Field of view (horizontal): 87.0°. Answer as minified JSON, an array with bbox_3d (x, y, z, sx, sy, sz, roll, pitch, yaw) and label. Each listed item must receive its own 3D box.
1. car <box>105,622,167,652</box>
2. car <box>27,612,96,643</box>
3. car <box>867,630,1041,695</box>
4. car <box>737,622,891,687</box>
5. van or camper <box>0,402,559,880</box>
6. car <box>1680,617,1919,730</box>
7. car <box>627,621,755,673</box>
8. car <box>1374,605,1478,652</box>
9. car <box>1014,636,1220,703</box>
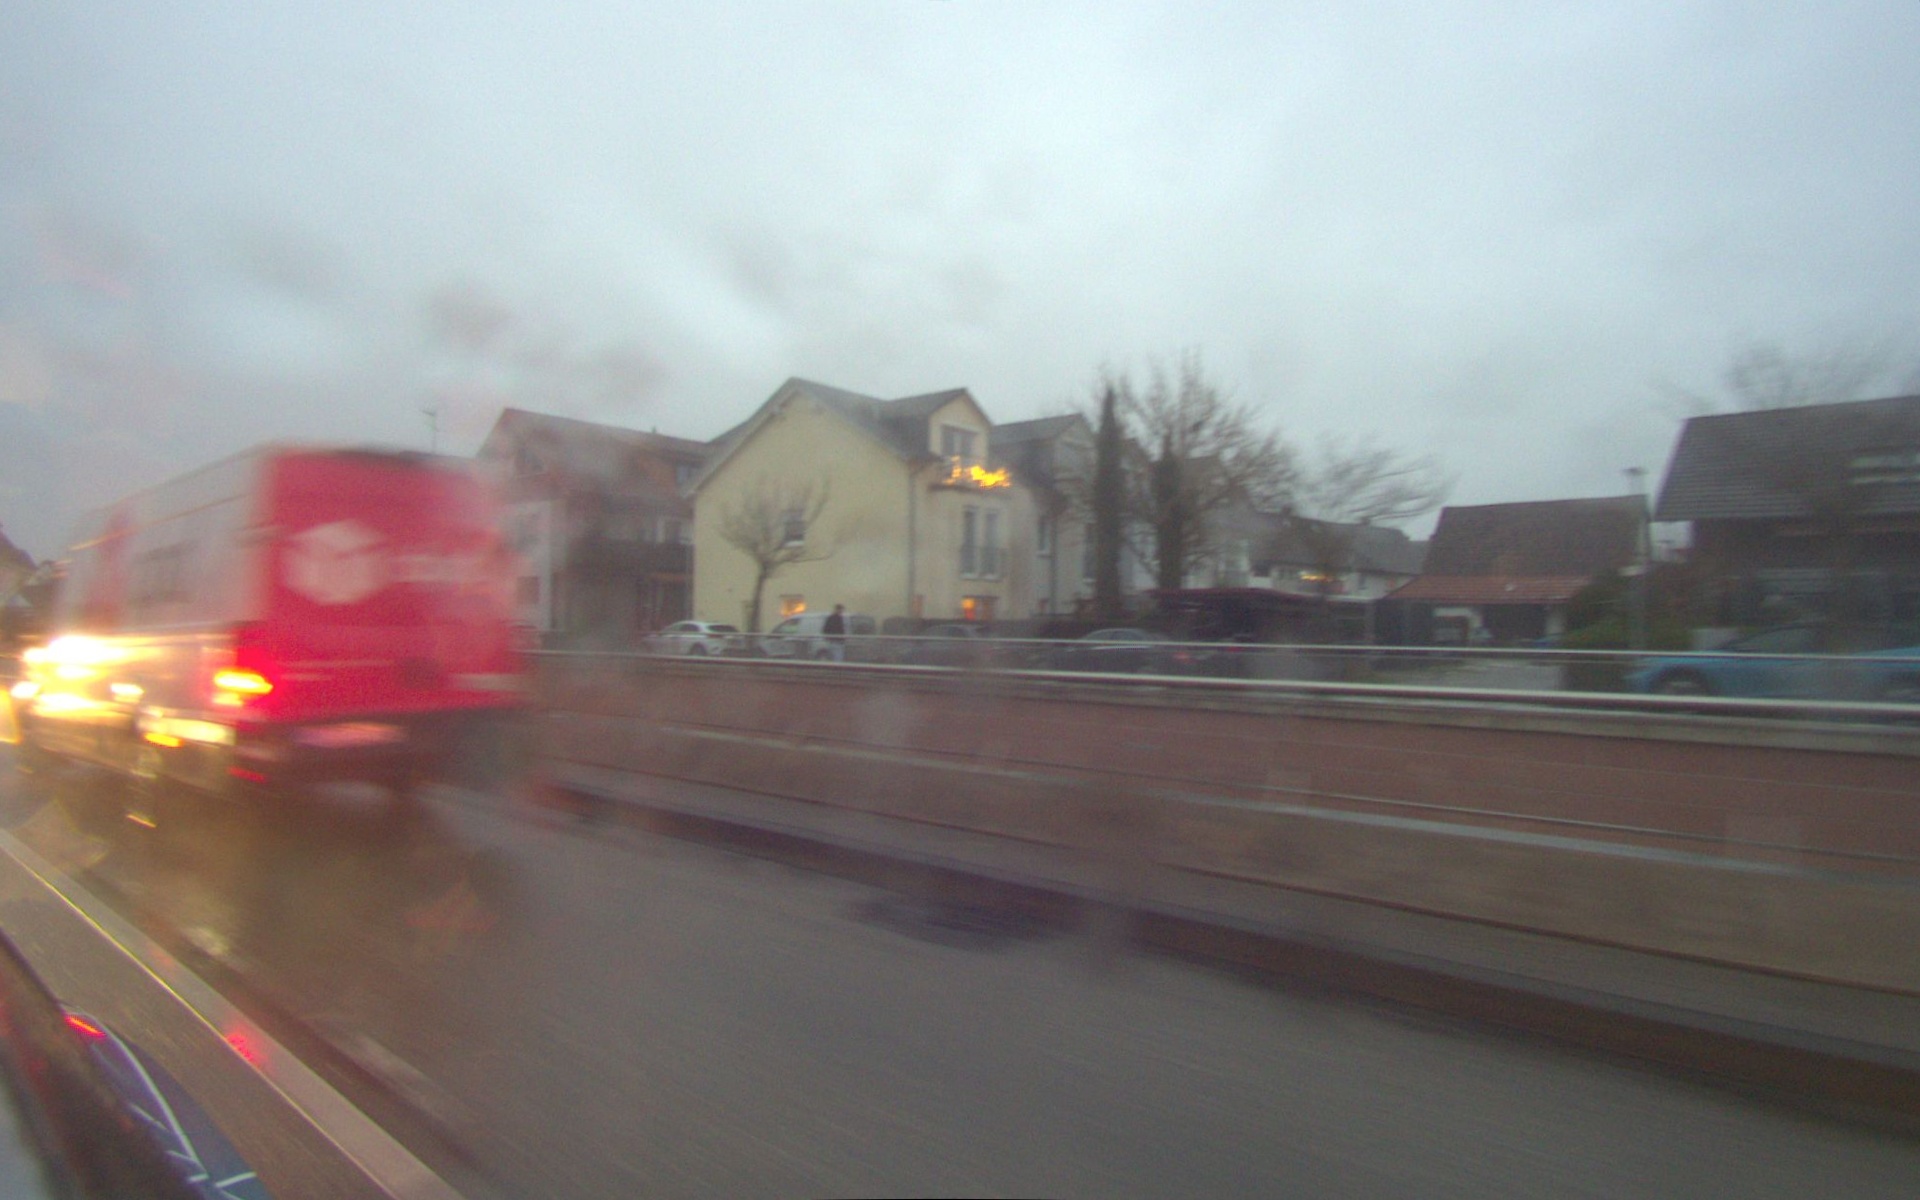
[{"bbox_3d":[-49.142,2.204,60.340,3.974,1.636,1.802,-1,1,34],"label":"car"},{"bbox_3d":[-59.527,1.818,67.063,4.336,1.919,1.982,-1,1,28],"label":"car"},{"bbox_3d":[-0.209,1.650,27.107,4.494,1.585,1.856,-2,-4,38],"label":"car"},{"bbox_3d":[-4.388,1.608,30.163,4.492,1.792,1.857,-2,-4,36],"label":"car"},{"bbox_3d":[-6.177,0.323,8.650,6.548,2.689,2.218,-2,-3,39],"label":"van or camper"},{"bbox_3d":[13.504,1.102,15.657,3.815,1.592,1.550,-1,-3,38],"label":"car"},{"bbox_3d":[-8.965,1.577,33.636,4.216,1.611,1.857,-2,-4,36],"label":"car"},{"bbox_3d":[21.232,1.240,46.156,3.992,2.029,1.976,0,0,36],"label":"car"},{"bbox_3d":[3.644,1.608,23.946,4.494,1.444,1.856,-2,-4,38],"label":"car"}]
